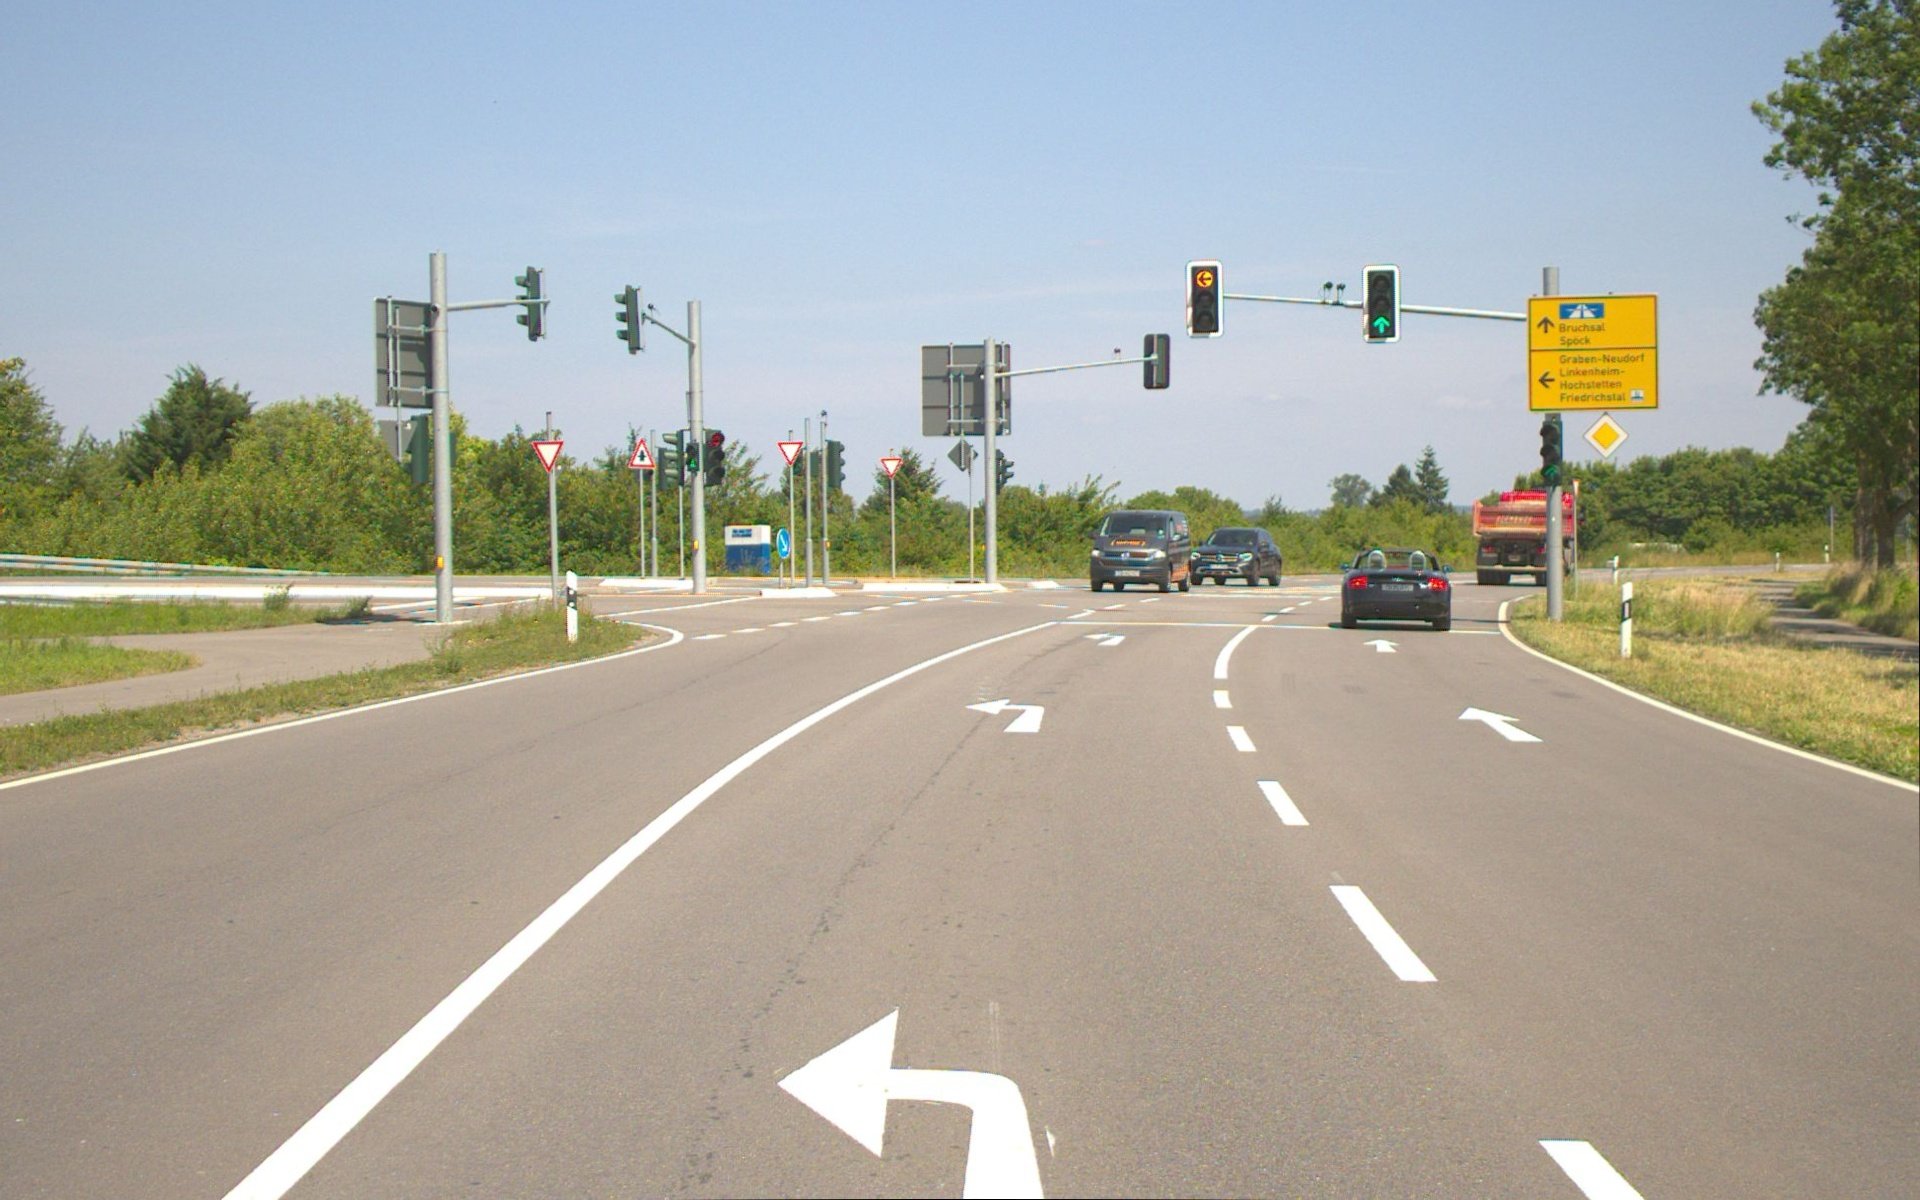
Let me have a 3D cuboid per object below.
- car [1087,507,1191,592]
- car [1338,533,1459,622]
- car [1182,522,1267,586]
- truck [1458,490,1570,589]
[{"bbox_3d":[4.355,-1.228,82.818,1.931,1.971,4.682,1,1,10],"label":"car"},{"bbox_3d":[7.180,-0.342,56.035,1.748,1.371,3.677,1,0,10],"label":"car"},{"bbox_3d":[7.522,-1.326,97.508,1.931,1.733,4.887,1,1,10],"label":"car"},{"bbox_3d":[17.913,-1.896,110.847,2.716,3.042,8.158,0,0,15],"label":"truck"}]
